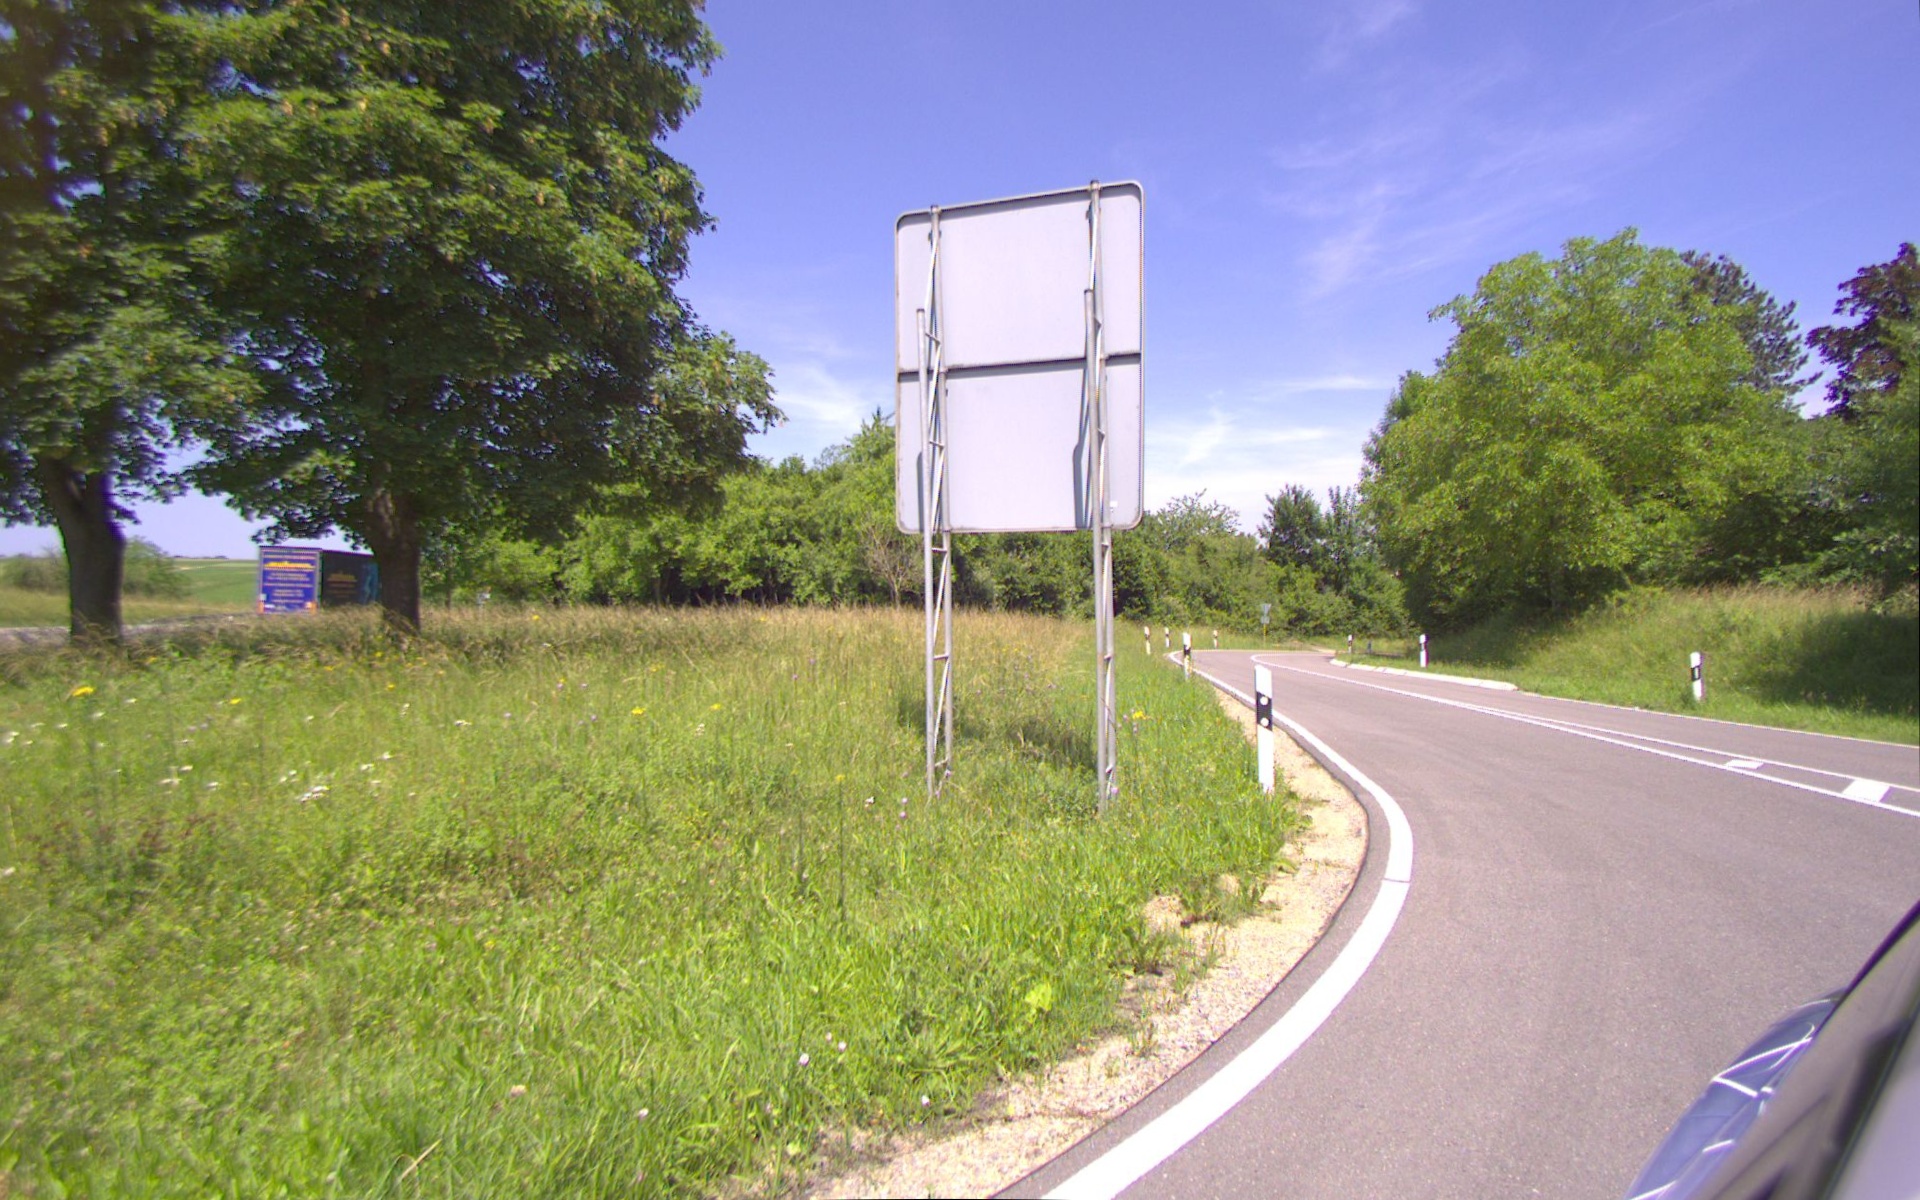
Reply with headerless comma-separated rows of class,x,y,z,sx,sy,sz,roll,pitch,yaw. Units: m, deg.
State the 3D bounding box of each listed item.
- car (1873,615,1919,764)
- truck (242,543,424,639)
car,10.146,0.878,7.618,1.776,1.430,5.332,1,0,1
truck,-32.076,-0.397,52.991,2.792,4.184,16.843,1,0,-13
